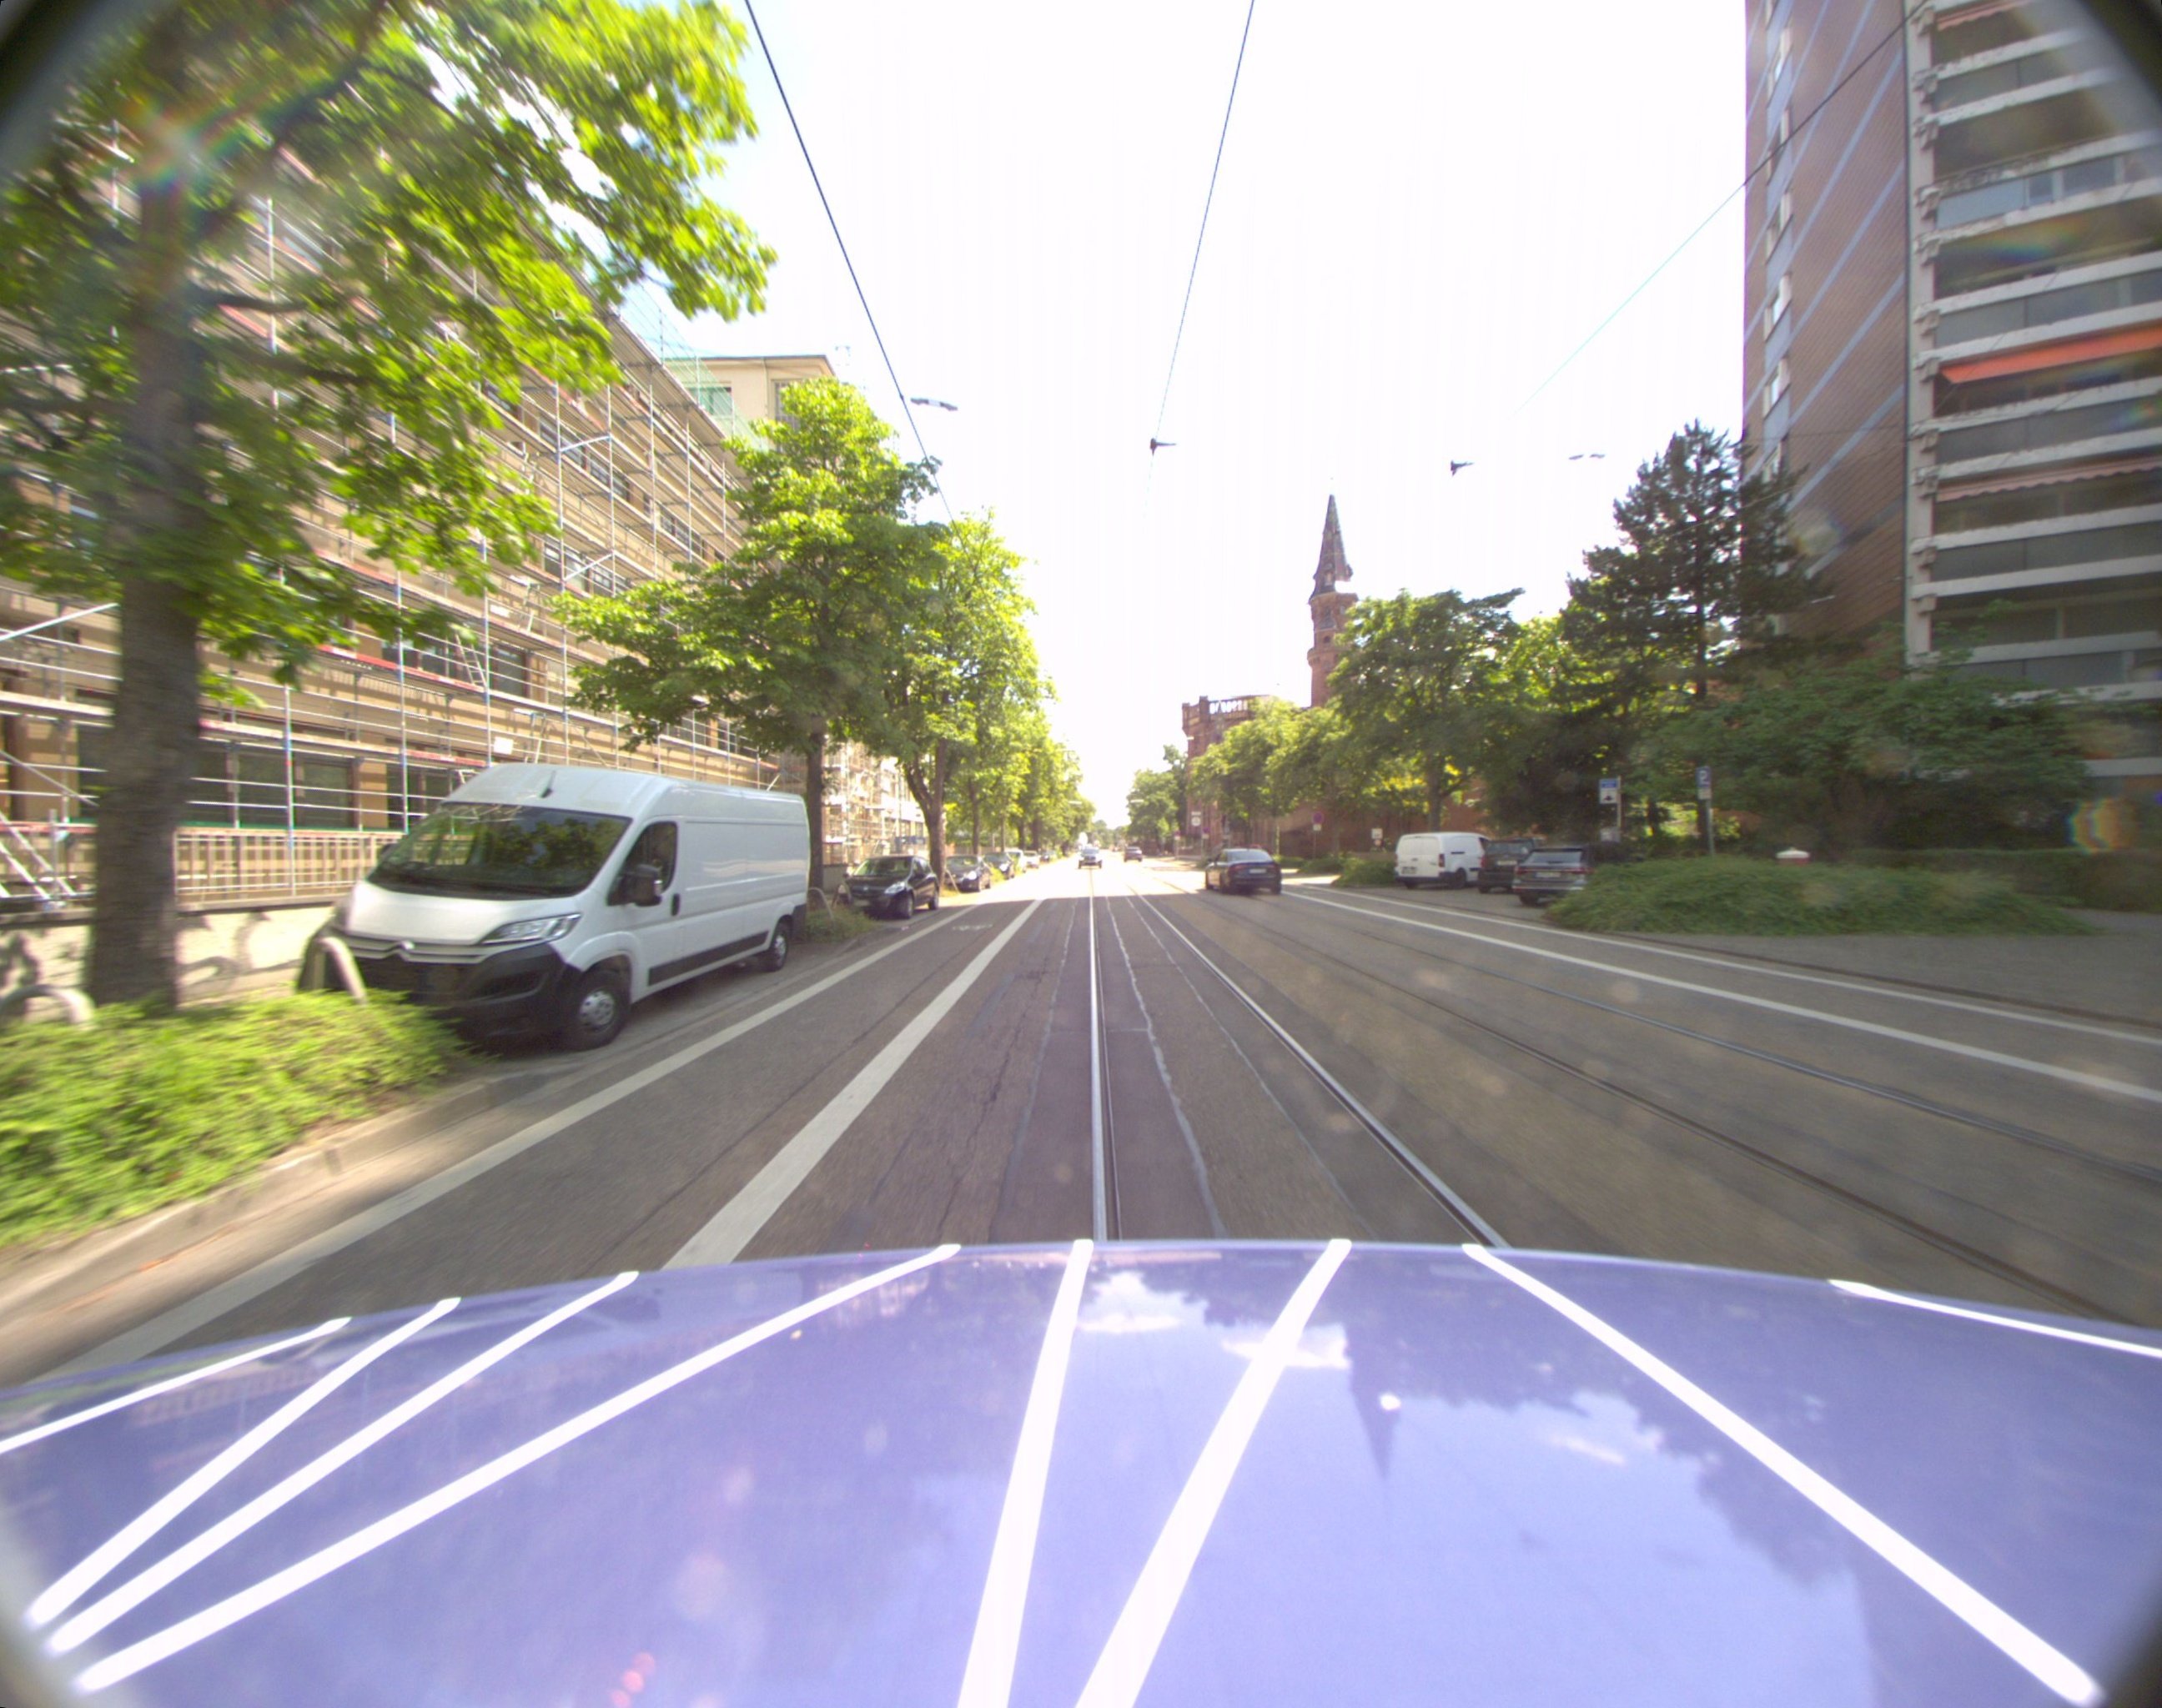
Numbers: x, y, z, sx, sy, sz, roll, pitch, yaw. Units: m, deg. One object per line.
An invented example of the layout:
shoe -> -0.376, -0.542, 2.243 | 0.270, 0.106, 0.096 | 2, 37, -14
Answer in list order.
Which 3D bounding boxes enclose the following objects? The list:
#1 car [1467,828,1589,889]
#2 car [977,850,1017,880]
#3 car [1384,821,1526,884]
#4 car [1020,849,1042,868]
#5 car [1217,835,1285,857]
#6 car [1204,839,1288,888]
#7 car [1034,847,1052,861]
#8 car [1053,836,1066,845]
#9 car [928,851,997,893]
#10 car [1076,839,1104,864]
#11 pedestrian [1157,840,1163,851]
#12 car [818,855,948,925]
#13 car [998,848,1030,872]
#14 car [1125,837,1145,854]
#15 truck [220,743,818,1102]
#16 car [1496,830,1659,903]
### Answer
car -> 12.740, 0.086, 21.565 | 3.958, 1.523, 1.768 | -3, 1, -41
car -> -4.369, 0.538, 40.025 | 1.675, 1.430, 4.041 | -1, 1, 0
car -> 12.034, -0.088, 24.364 | 4.555, 1.781, 1.896 | -3, 1, -31
car -> -4.109, 0.362, 62.550 | 1.676, 1.490, 4.364 | -1, 1, -2
car -> 12.781, -0.612, 57.064 | 4.787, 1.557, 1.997 | -2, 1, -28
car -> 5.128, 0.258, 24.154 | 1.778, 1.389, 4.287 | -1, 1, 1
car -> -4.077, -0.002, 82.023 | 1.675, 1.481, 3.980 | -1, 1, 0
car -> -3.179, -1.940, 112.744 | 1.756, 1.263, 3.833 | -2, 1, 1
car -> -4.542, 0.643, 29.746 | 1.829, 1.463, 4.486 | -1, 1, 2
car -> 0.672, -0.186, 57.858 | 1.998, 1.732, 4.226 | -2, 1, 0
pedestrian -> 11.957, -1.270, 114.802 | 0.801, 1.579, 0.919 | -4, 1, 0
car -> -4.740, 0.787, 18.866 | 1.828, 1.463, 4.400 | -1, 1, 3
car -> -4.364, 0.367, 49.870 | 1.675, 1.509, 4.200 | -1, 1, 0
car -> 5.709, -0.894, 80.693 | 1.835, 1.671, 4.184 | -1, 1, 1
truck -> -4.941, 0.454, 8.283 | 2.019, 2.474, 5.955 | -1, 1, 0
car -> 11.548, 0.235, 17.569 | 4.455, 1.386, 1.768 | -3, 1, -38
